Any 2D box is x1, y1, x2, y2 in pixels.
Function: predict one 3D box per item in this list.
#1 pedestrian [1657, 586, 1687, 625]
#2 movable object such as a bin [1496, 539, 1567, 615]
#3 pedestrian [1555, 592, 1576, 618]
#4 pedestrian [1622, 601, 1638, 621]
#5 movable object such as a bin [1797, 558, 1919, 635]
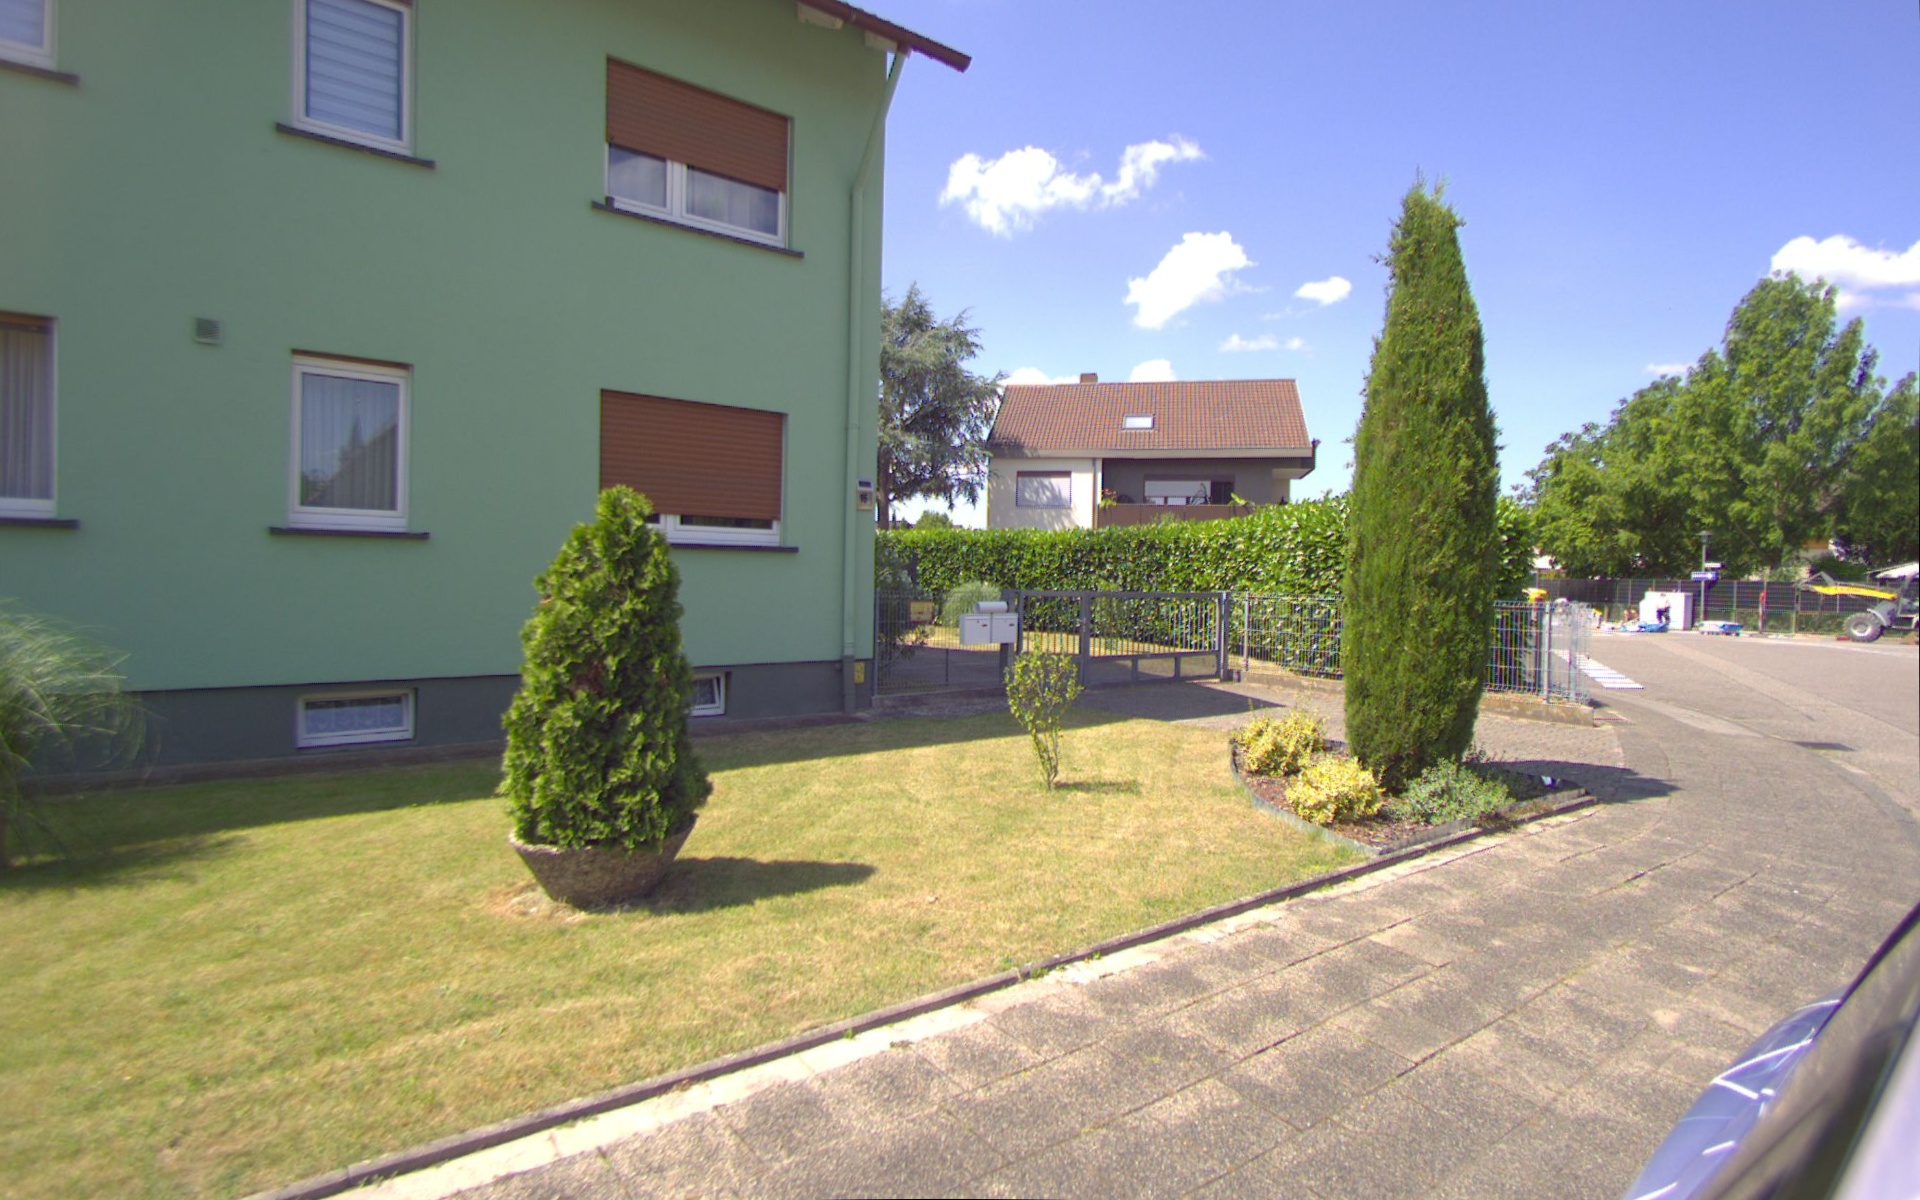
[{"bbox_3d":[28.461,0.206,40.448,0.523,1.533,0.850,0,1,-40],"label":"pedestrian"},{"bbox_3d":[28.407,-1.155,50.435,1.970,3.609,3.801,1,1,13],"label":"movable object such as a bin"},{"bbox_3d":[28.128,0.226,47.025,0.808,1.183,0.512,0,1,-29],"label":"pedestrian"},{"bbox_3d":[28.359,0.459,42.828,0.513,0.803,0.431,0,1,-38],"label":"pedestrian"},{"bbox_3d":[31.250,-0.090,33.557,5.216,2.483,1.968,2,-1,44],"label":"movable object such as a bin"}]
